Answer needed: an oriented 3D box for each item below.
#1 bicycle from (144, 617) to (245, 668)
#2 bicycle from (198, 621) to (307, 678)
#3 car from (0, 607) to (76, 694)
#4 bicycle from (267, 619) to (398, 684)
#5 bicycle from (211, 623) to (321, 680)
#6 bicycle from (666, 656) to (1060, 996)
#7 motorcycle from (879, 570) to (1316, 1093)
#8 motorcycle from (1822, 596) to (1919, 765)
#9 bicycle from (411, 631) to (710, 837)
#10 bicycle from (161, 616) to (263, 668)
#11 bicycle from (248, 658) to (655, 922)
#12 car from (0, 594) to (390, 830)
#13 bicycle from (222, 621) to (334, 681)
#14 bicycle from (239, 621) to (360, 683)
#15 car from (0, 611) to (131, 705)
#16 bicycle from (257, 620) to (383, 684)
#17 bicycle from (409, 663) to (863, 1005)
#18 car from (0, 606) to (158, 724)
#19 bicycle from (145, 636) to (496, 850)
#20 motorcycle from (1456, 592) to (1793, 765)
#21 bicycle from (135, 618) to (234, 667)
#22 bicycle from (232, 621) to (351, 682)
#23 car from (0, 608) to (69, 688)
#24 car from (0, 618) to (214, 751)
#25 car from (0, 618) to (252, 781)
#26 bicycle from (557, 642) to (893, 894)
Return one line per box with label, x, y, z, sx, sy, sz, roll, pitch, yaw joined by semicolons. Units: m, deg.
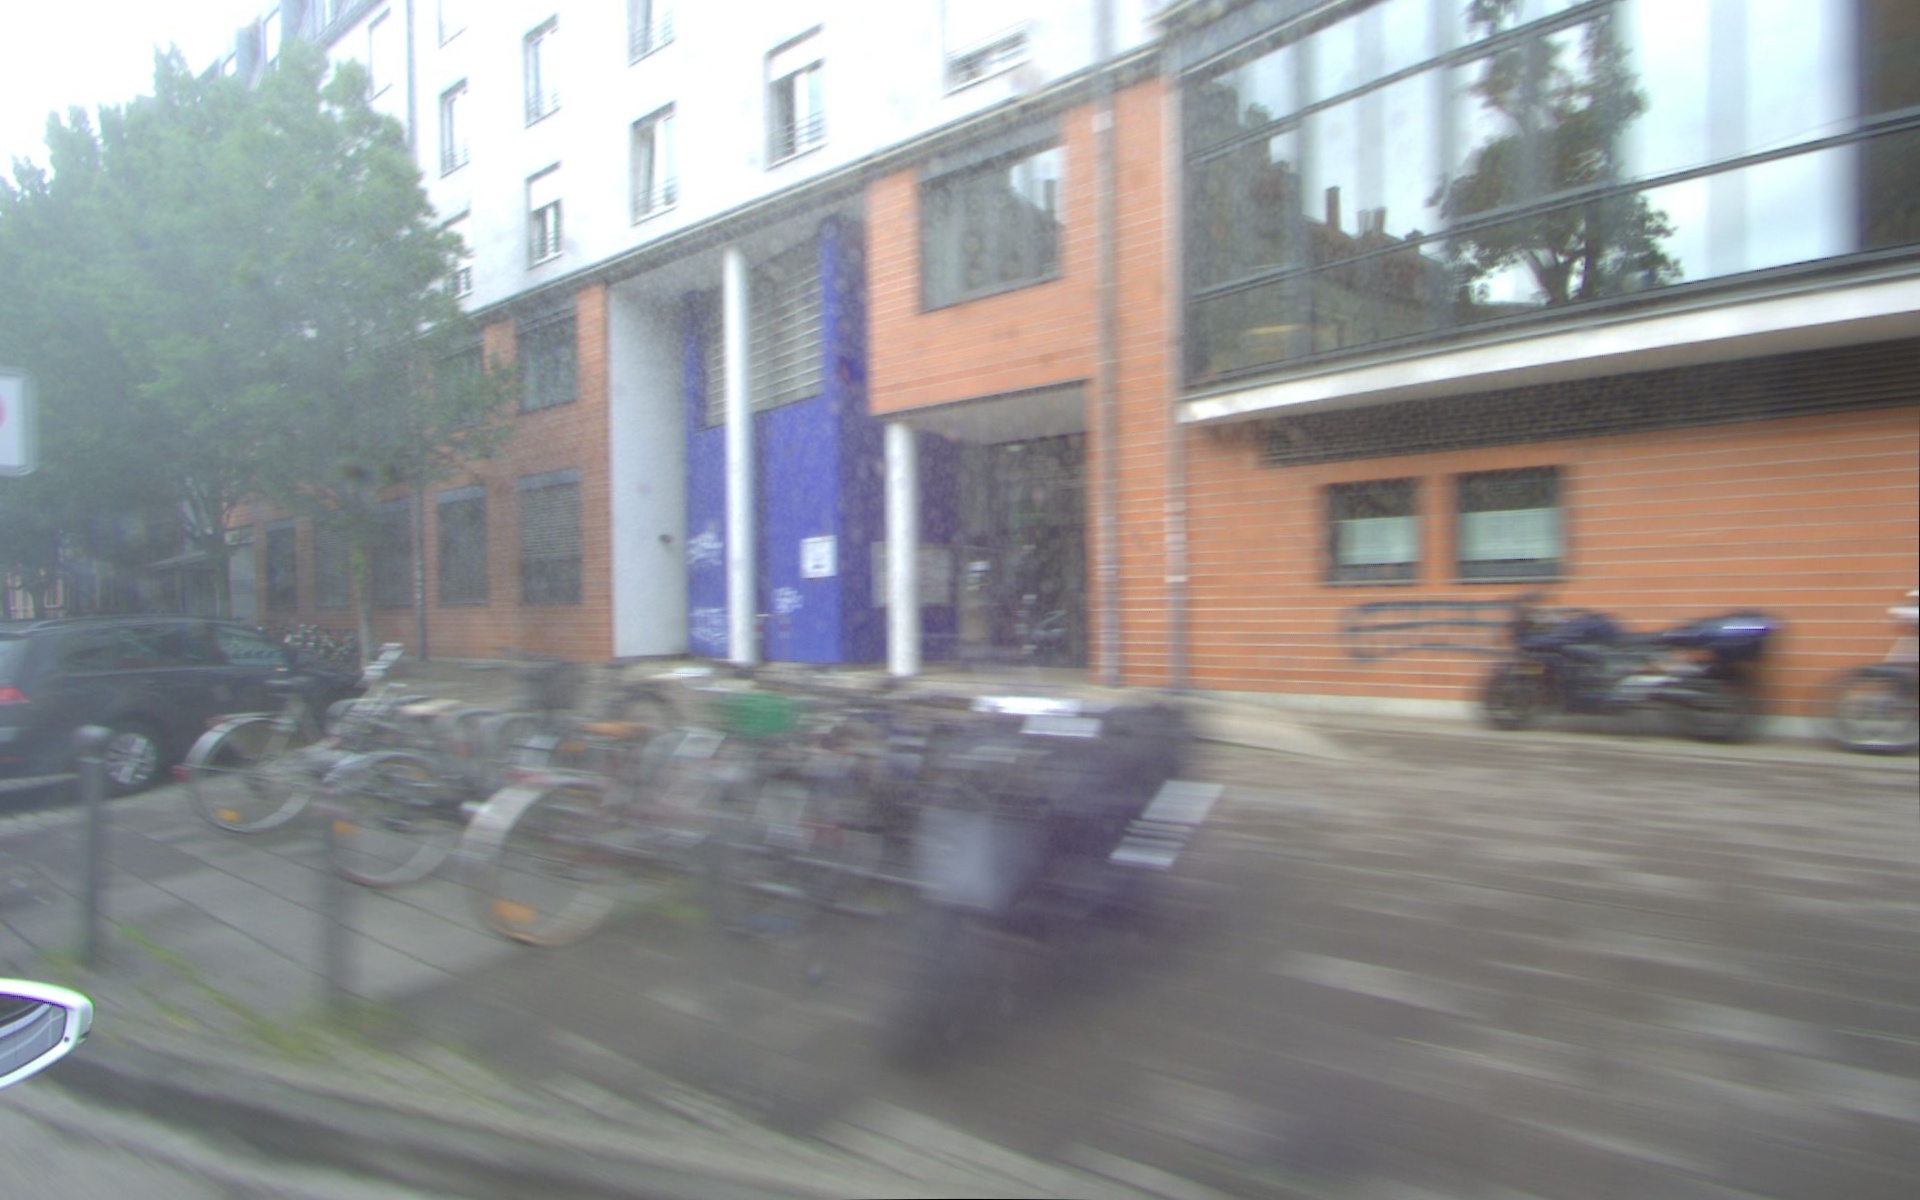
bicycle;-17.614;0.961;23.077;0.558;1.106;1.746;-2;-1;37
bicycle;-14.590;1.006;20.686;0.558;1.106;1.746;-2;-1;37
car;-18.837;0.970;18.129;1.737;1.606;4.058;-1;0;7
bicycle;-11.304;0.912;18.110;0.570;1.106;1.926;-2;-1;37
bicycle;-14.085;1.026;20.361;0.558;1.106;1.746;-2;-1;37
bicycle;-0.311;0.855;4.541;0.604;1.076;2.003;-2;0;34
motorcycle;0.676;0.635;3.861;0.760;1.448;2.127;-2;0;34
motorcycle;7.218;0.546;6.787;2.044;1.159;0.598;-1;1;38
bicycle;-2.689;0.838;6.966;0.604;1.156;1.878;-2;0;34
bicycle;-16.763;0.928;22.483;0.558;1.106;1.746;-2;-1;37
bicycle;-2.631;0.904;5.424;0.604;1.057;1.878;-2;0;34
car;-7.610;0.808;9.334;1.827;1.600;4.284;-1;2;5
bicycle;-13.497;0.991;19.857;0.558;1.106;1.746;-2;-1;37
bicycle;-12.441;0.957;18.922;0.536;1.106;1.829;-2;-1;37
car;-16.615;0.987;16.956;1.649;1.506;4.059;-1;0;2
bicycle;-11.778;0.931;18.474;0.536;1.106;1.888;-2;-1;37
bicycle;-1.300;0.876;4.456;0.604;1.057;1.923;-2;0;34
car;-14.223;0.935;14.355;1.867;1.606;4.058;-1;0;7
bicycle;-4.211;0.868;6.757;0.604;1.156;1.878;-2;0;34
motorcycle;5.343;0.560;8.176;2.181;1.219;1.024;0;1;37
bicycle;-18.118;0.981;23.416;0.558;1.106;1.746;-2;-1;37
bicycle;-12.987;0.977;19.500;0.558;1.106;1.829;-2;-1;37
car;-20.574;1.013;19.987;1.737;1.606;4.059;-1;0;4
car;-12.108;1.026;12.833;1.839;1.563;3.987;0;-2;7
car;-9.855;0.958;10.811;1.809;1.518;3.566;0;-1;3
bicycle;-1.227;0.834;5.684;0.604;1.091;1.923;-2;0;34
